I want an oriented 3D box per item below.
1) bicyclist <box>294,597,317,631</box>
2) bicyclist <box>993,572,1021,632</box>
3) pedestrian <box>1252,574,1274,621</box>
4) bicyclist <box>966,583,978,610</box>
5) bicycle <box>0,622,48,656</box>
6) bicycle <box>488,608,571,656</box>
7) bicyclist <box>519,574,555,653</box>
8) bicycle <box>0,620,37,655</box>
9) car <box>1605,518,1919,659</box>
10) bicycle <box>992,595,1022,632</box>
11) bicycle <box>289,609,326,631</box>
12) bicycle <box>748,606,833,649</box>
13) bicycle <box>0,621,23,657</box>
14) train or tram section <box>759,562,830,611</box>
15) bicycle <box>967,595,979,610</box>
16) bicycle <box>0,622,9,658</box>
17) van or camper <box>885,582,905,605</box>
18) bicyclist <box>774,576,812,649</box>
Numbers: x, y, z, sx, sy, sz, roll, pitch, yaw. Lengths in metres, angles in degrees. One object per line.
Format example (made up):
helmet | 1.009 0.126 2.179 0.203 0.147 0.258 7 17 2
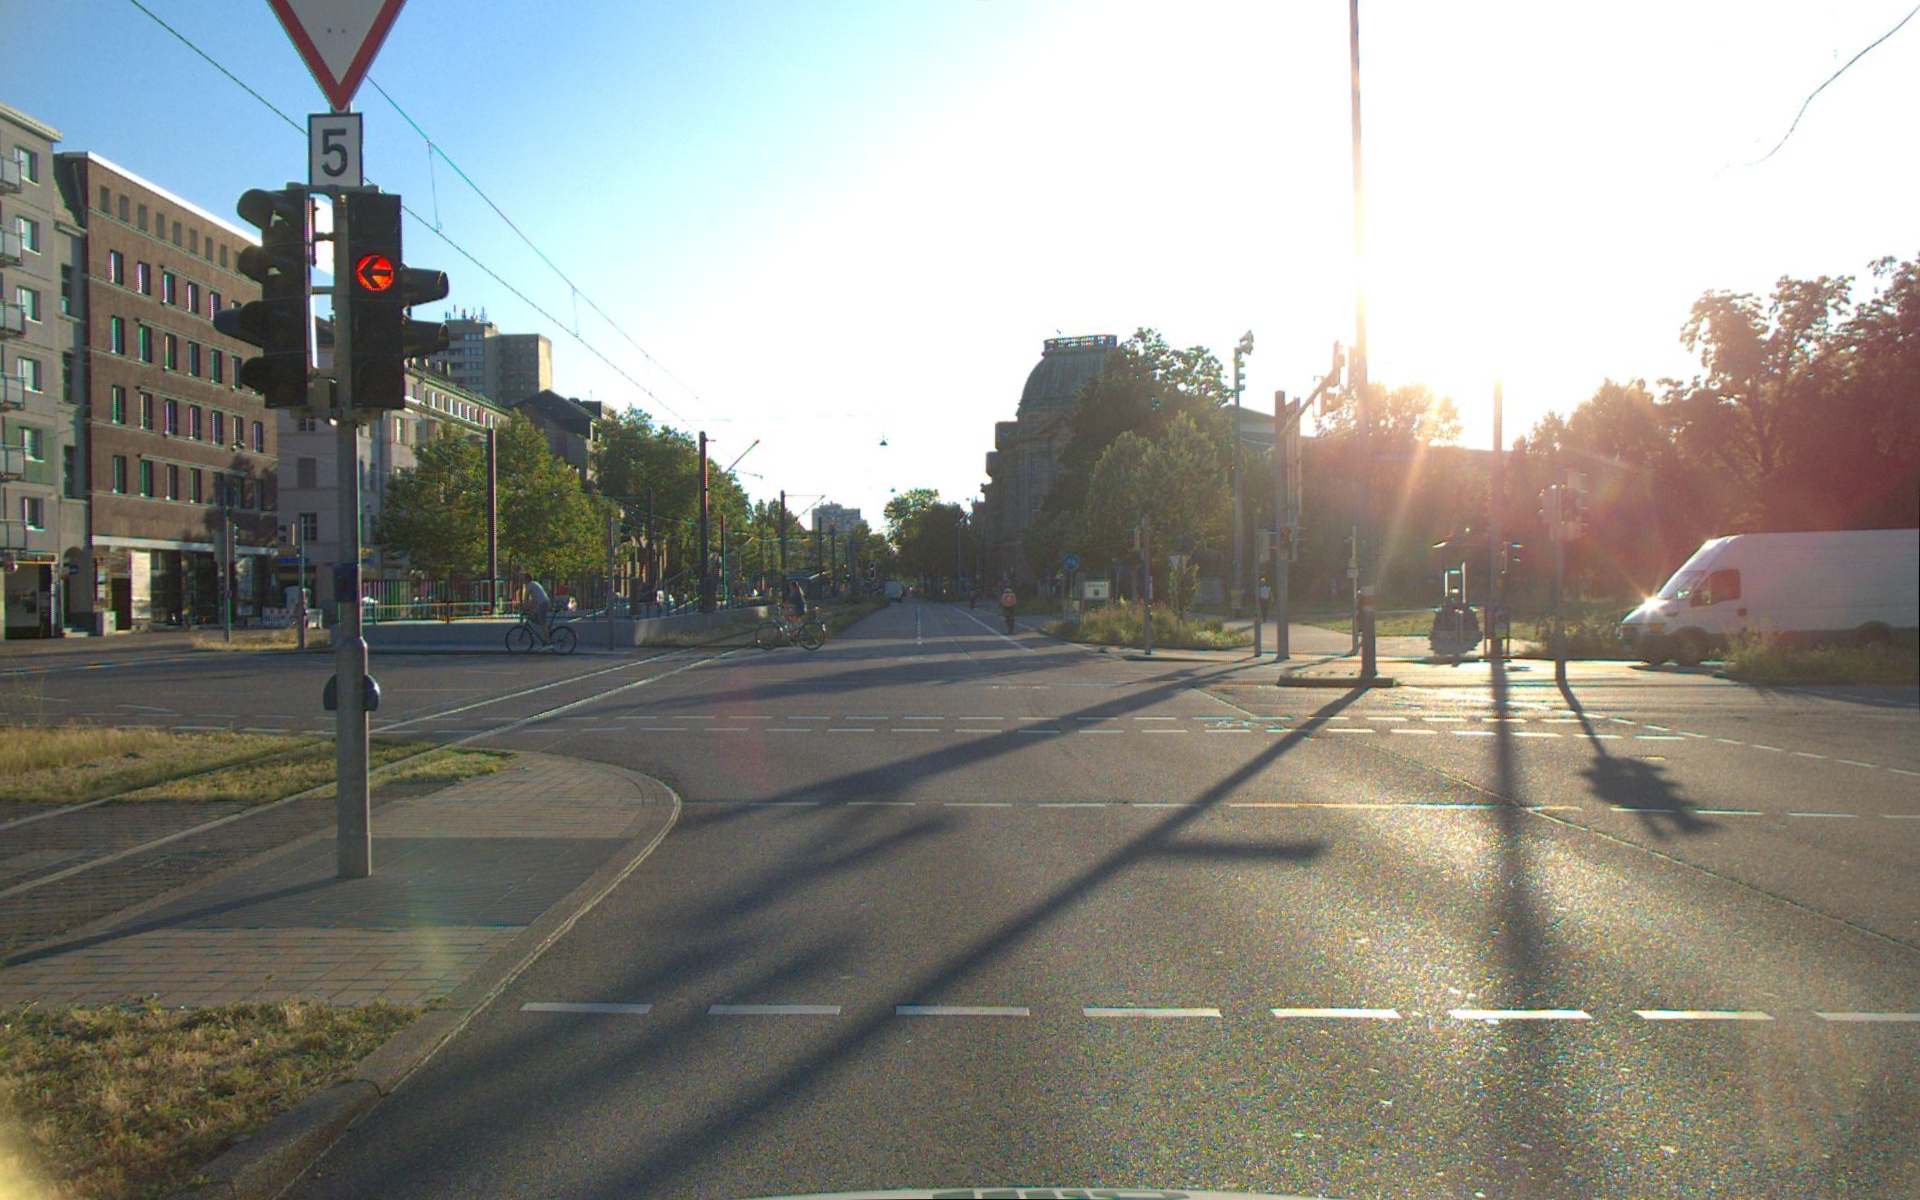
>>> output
bicyclist | -29.085 0.616 73.513 0.489 1.451 0.857 -1 0 24
bicyclist | 1.834 0.068 64.913 1.060 2.316 0.986 0 0 -1
pedestrian | 12.028 -0.115 65.641 0.815 1.835 0.811 -1 0 14
bicyclist | 0.969 -0.263 128.984 0.907 2.049 0.850 0 0 -1
bicycle | -32.855 1.369 57.744 1.655 1.164 0.697 -1 0 1
bicycle | -10.208 0.749 39.247 1.869 1.094 0.630 -1 0 -14
bicyclist | -10.039 0.322 39.286 0.779 1.850 0.644 -1 0 -13
bicycle | -32.871 1.286 57.012 1.655 1.190 0.748 -1 0 1
car | 17.808 -0.253 35.770 6.866 2.877 2.093 -1 0 1
bicycle | 1.834 0.518 65.019 1.075 1.423 2.831 -1 0 -1
bicycle | -29.043 0.891 73.604 0.497 0.961 1.667 -1 0 24
bicycle | -4.368 0.708 42.719 2.118 1.102 0.539 0 -1 5
bicycle | -32.913 1.334 56.236 1.655 1.199 0.748 -1 0 1
train or tram section | -14.329 -1.256 144.693 4.294 3.916 11.418 -1 2 4
bicycle | 0.988 0.209 128.896 0.905 1.131 2.332 -1 0 -1
bicycle | -32.926 1.355 55.482 1.655 1.173 0.705 -1 0 1
van or camper | -8.060 -0.811 204.022 2.400 2.819 5.598 -1 0 -3
bicyclist | -4.316 0.324 42.718 0.857 1.850 0.538 0 0 6
